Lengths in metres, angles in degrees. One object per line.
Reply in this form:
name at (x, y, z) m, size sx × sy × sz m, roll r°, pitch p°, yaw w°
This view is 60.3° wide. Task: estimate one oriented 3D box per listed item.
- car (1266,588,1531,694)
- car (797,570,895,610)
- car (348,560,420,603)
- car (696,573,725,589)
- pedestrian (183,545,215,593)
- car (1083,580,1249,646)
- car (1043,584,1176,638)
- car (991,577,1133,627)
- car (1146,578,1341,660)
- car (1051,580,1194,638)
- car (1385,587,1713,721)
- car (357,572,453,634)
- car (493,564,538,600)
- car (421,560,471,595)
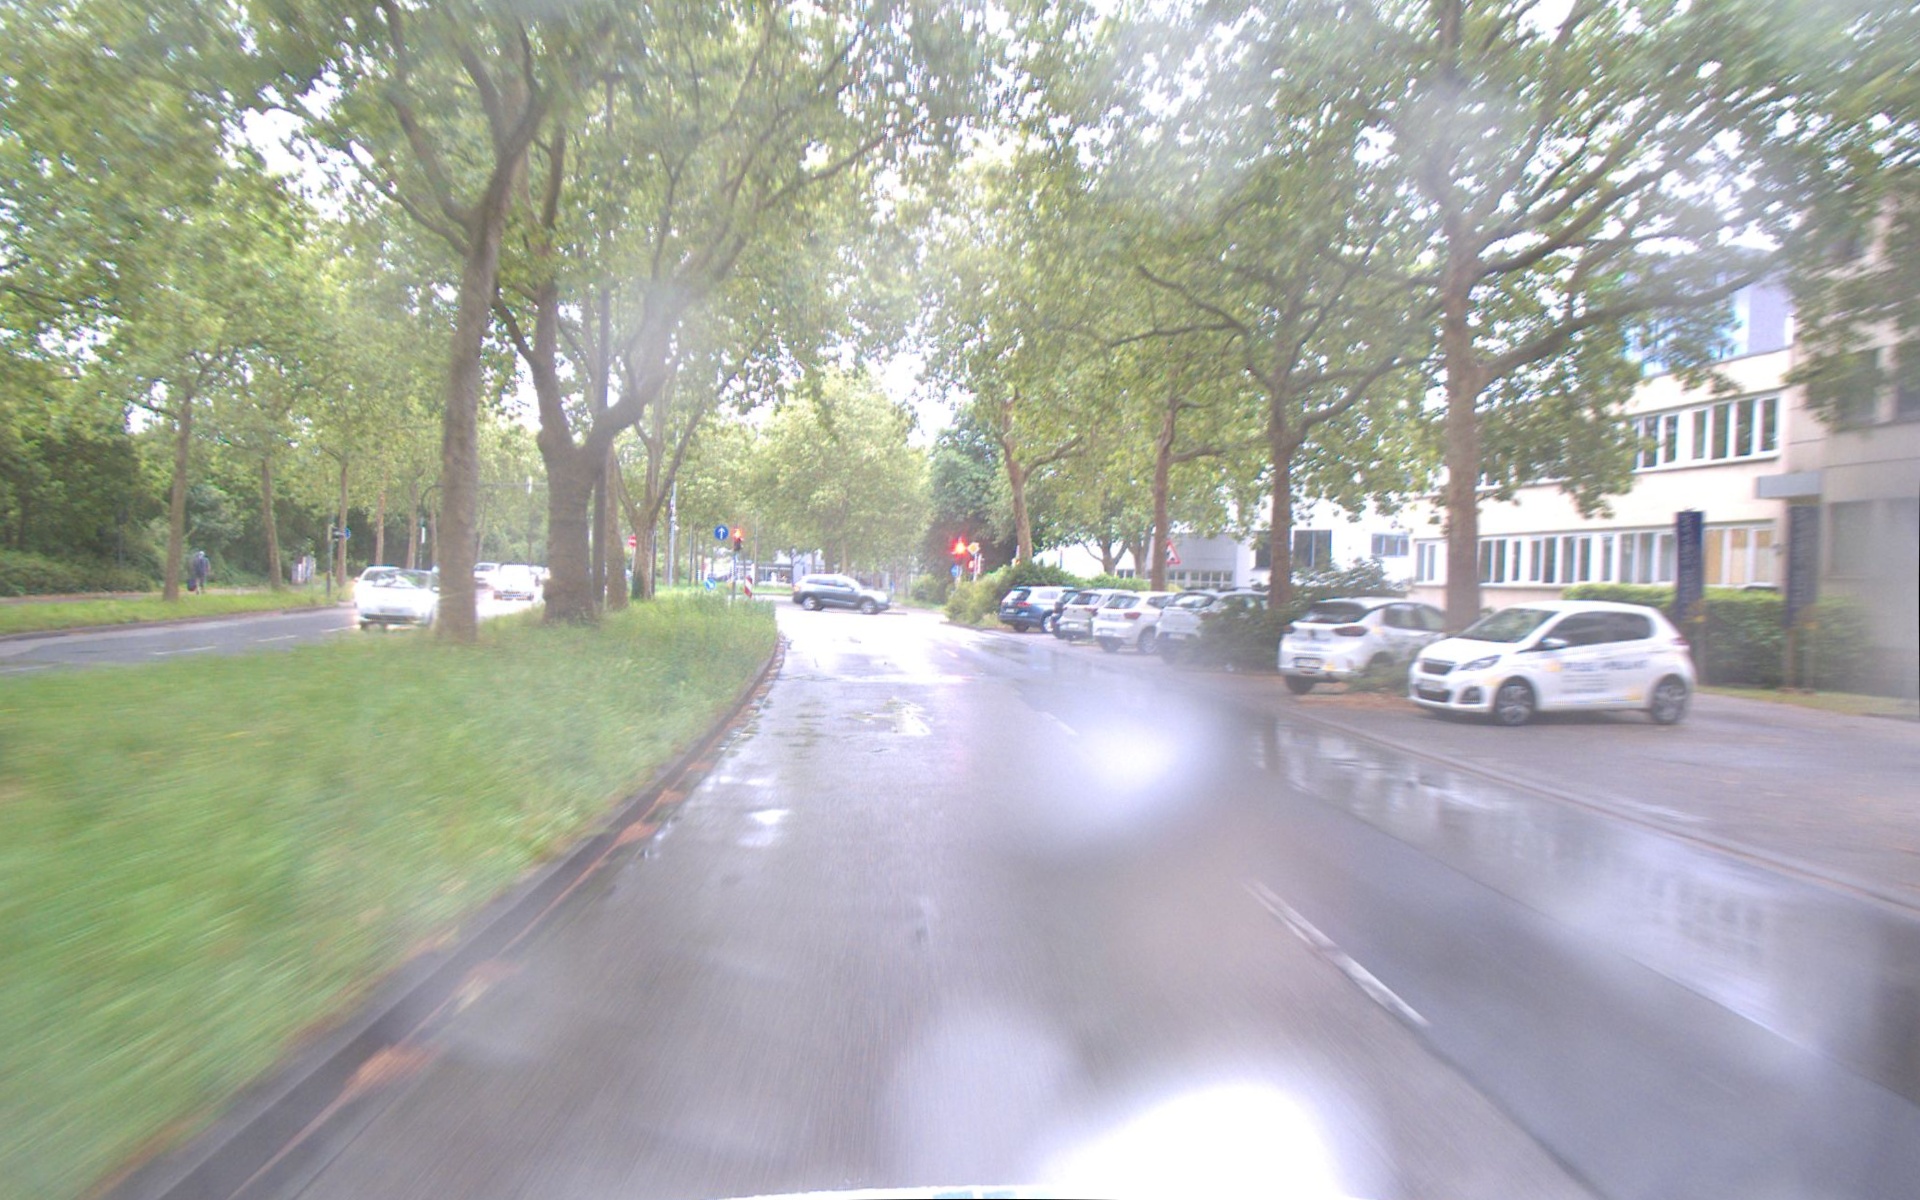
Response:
car at (6.703, 0.628, 25.131) m, size 3.992 × 1.453 × 1.728 m, roll 2°, pitch 0°, yaw -35°
car at (-5.271, -0.483, 76.791) m, size 4.201 × 1.679 × 1.750 m, roll 2°, pitch 0°, yaw 6°
car at (-21.640, -0.685, 62.271) m, size 1.710 × 1.502 × 4.076 m, roll 2°, pitch 0°, yaw -7°
car at (-36.638, -2.768, 243.082) m, size 3.926 × 2.049 × 1.989 m, roll 3°, pitch -1°, yaw -19°
pedestrian at (-27.970, -1.135, 60.775) m, size 0.816 × 1.703 × 0.897 m, roll 2°, pitch 0°, yaw -11°
car at (4.942, 0.321, 39.578) m, size 3.644 × 1.441 × 1.730 m, roll 2°, pitch 0°, yaw -32°
car at (4.392, 0.331, 48.385) m, size 3.650 × 1.441 × 1.727 m, roll 2°, pitch 0°, yaw -36°
car at (3.360, 0.072, 54.060) m, size 4.437 × 1.484 × 1.730 m, roll 2°, pitch 0°, yaw -32°
car at (5.927, 0.414, 34.452) m, size 3.995 × 1.566 × 1.726 m, roll 2°, pitch 0°, yaw -37°
car at (4.448, 0.247, 45.100) m, size 3.651 × 1.441 × 1.754 m, roll 2°, pitch 0°, yaw -36°
car at (7.395, 0.665, 20.837) m, size 3.580 × 1.530 × 1.740 m, roll 1°, pitch 1°, yaw -19°
car at (-14.579, 0.044, 43.667) m, size 1.712 × 1.502 × 4.400 m, roll 2°, pitch 0°, yaw -10°
car at (-21.318, -0.866, 79.458) m, size 1.712 × 1.619 × 4.319 m, roll 2°, pitch 0°, yaw -11°
car at (-25.100, -1.095, 80.886) m, size 1.711 × 1.619 × 4.201 m, roll 2°, pitch 0°, yaw -9°
